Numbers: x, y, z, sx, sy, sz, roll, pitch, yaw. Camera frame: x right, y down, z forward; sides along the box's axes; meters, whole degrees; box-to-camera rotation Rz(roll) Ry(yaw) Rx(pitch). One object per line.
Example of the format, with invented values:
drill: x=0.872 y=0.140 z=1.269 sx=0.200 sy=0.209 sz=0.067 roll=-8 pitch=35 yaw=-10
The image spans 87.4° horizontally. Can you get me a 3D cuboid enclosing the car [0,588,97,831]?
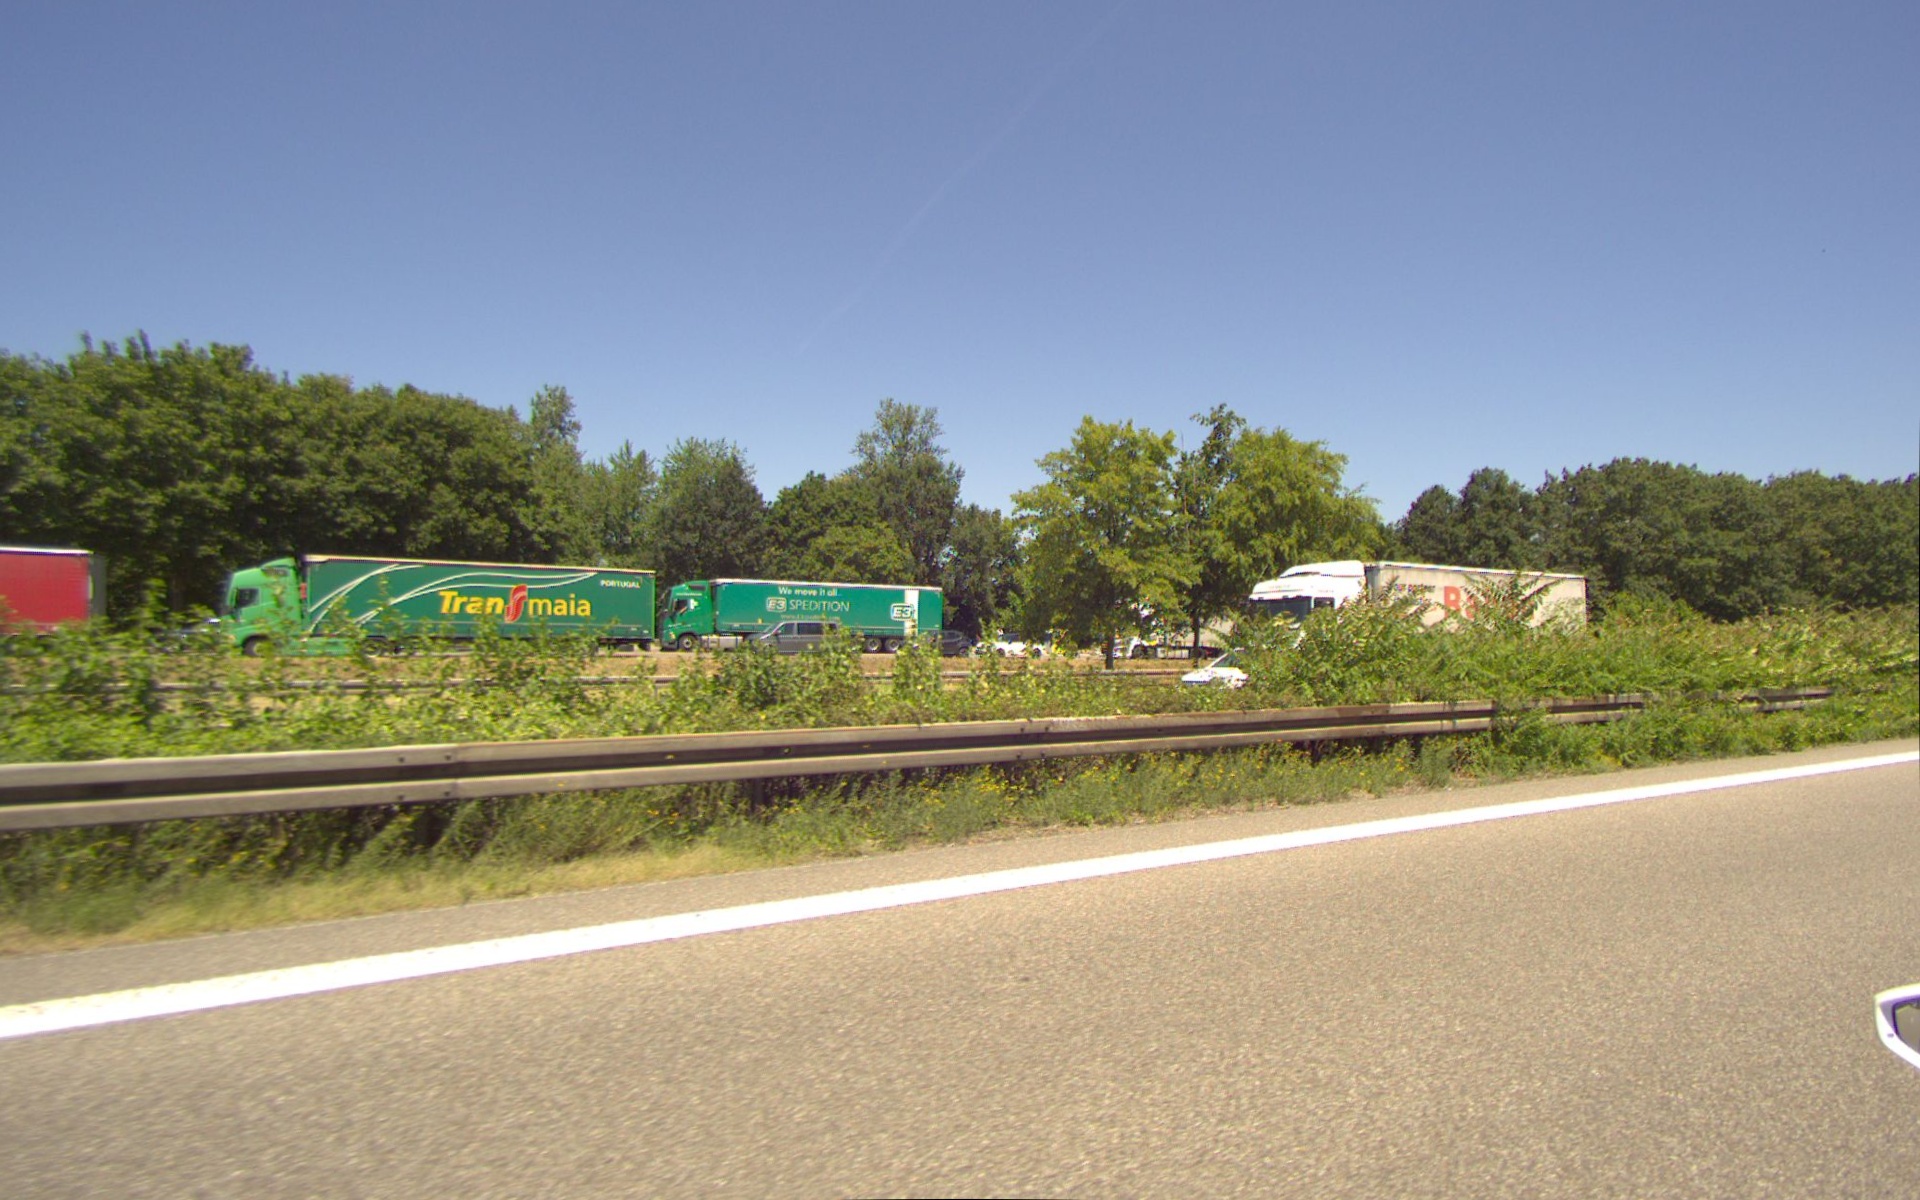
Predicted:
car: x=-9.864 y=0.828 z=8.022 sx=4.152 sy=1.950 sz=1.984 roll=2 pitch=0 yaw=-30

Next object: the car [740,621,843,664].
car: x=-8.299 y=2.111 z=49.572 sx=4.659 sy=2.040 sz=1.988 roll=1 pitch=-2 yaw=-25

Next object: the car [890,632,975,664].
car: x=-1.460 y=2.519 z=53.119 sx=4.128 sy=1.627 sz=1.795 roll=1 pitch=-2 yaw=-25

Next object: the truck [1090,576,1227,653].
truck: x=11.563 y=0.846 z=58.466 sx=7.291 sy=4.190 sz=3.206 roll=2 pitch=0 yaw=-25

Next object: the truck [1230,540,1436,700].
truck: x=11.085 y=0.606 z=29.804 sx=5.430 sy=4.329 sz=2.888 roll=2 pitch=0 yaw=-31

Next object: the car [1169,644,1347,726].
car: x=6.698 y=1.852 z=22.559 sx=3.549 sy=1.592 sz=1.903 roll=2 pitch=0 yaw=-30

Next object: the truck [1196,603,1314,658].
truck: x=20.794 y=2.188 z=70.919 sx=7.286 sy=3.704 sz=3.599 roll=1 pitch=-2 yaw=-18

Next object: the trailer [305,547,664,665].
trailer: x=-20.622 y=0.441 z=44.620 sx=13.853 sy=4.652 sz=3.586 roll=2 pitch=-2 yaw=-29

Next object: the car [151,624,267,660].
car: x=-33.624 y=1.885 z=45.110 sx=3.954 sy=1.558 sz=1.725 roll=2 pitch=-2 yaw=-31

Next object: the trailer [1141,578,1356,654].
trailer: x=17.759 y=1.065 z=61.350 sx=13.859 sy=4.190 sz=3.206 roll=2 pitch=0 yaw=-25

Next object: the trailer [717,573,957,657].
trailer: x=-7.180 y=1.031 z=59.935 sx=13.831 sy=4.652 sz=3.591 roll=1 pitch=-2 yaw=-25

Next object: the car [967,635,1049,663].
car: x=2.718 y=2.740 z=56.132 sx=4.409 sy=1.484 sz=1.789 roll=2 pitch=-2 yaw=-34

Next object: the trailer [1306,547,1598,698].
trailer: x=16.437 y=0.784 z=33.053 sx=11.359 sy=4.329 sz=2.887 roll=2 pitch=0 yaw=-31

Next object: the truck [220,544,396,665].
truck: x=-26.552 y=0.279 z=41.297 sx=5.688 sy=4.652 sz=3.586 roll=1 pitch=-2 yaw=-29

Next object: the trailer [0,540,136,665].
trailer: x=-37.154 y=0.019 z=33.992 sx=13.874 sy=4.320 sz=3.580 roll=2 pitch=-2 yaw=-33

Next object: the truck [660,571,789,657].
truck: x=-13.387 y=0.877 z=57.033 sx=6.507 sy=4.652 sz=3.591 roll=1 pitch=-2 yaw=-25
